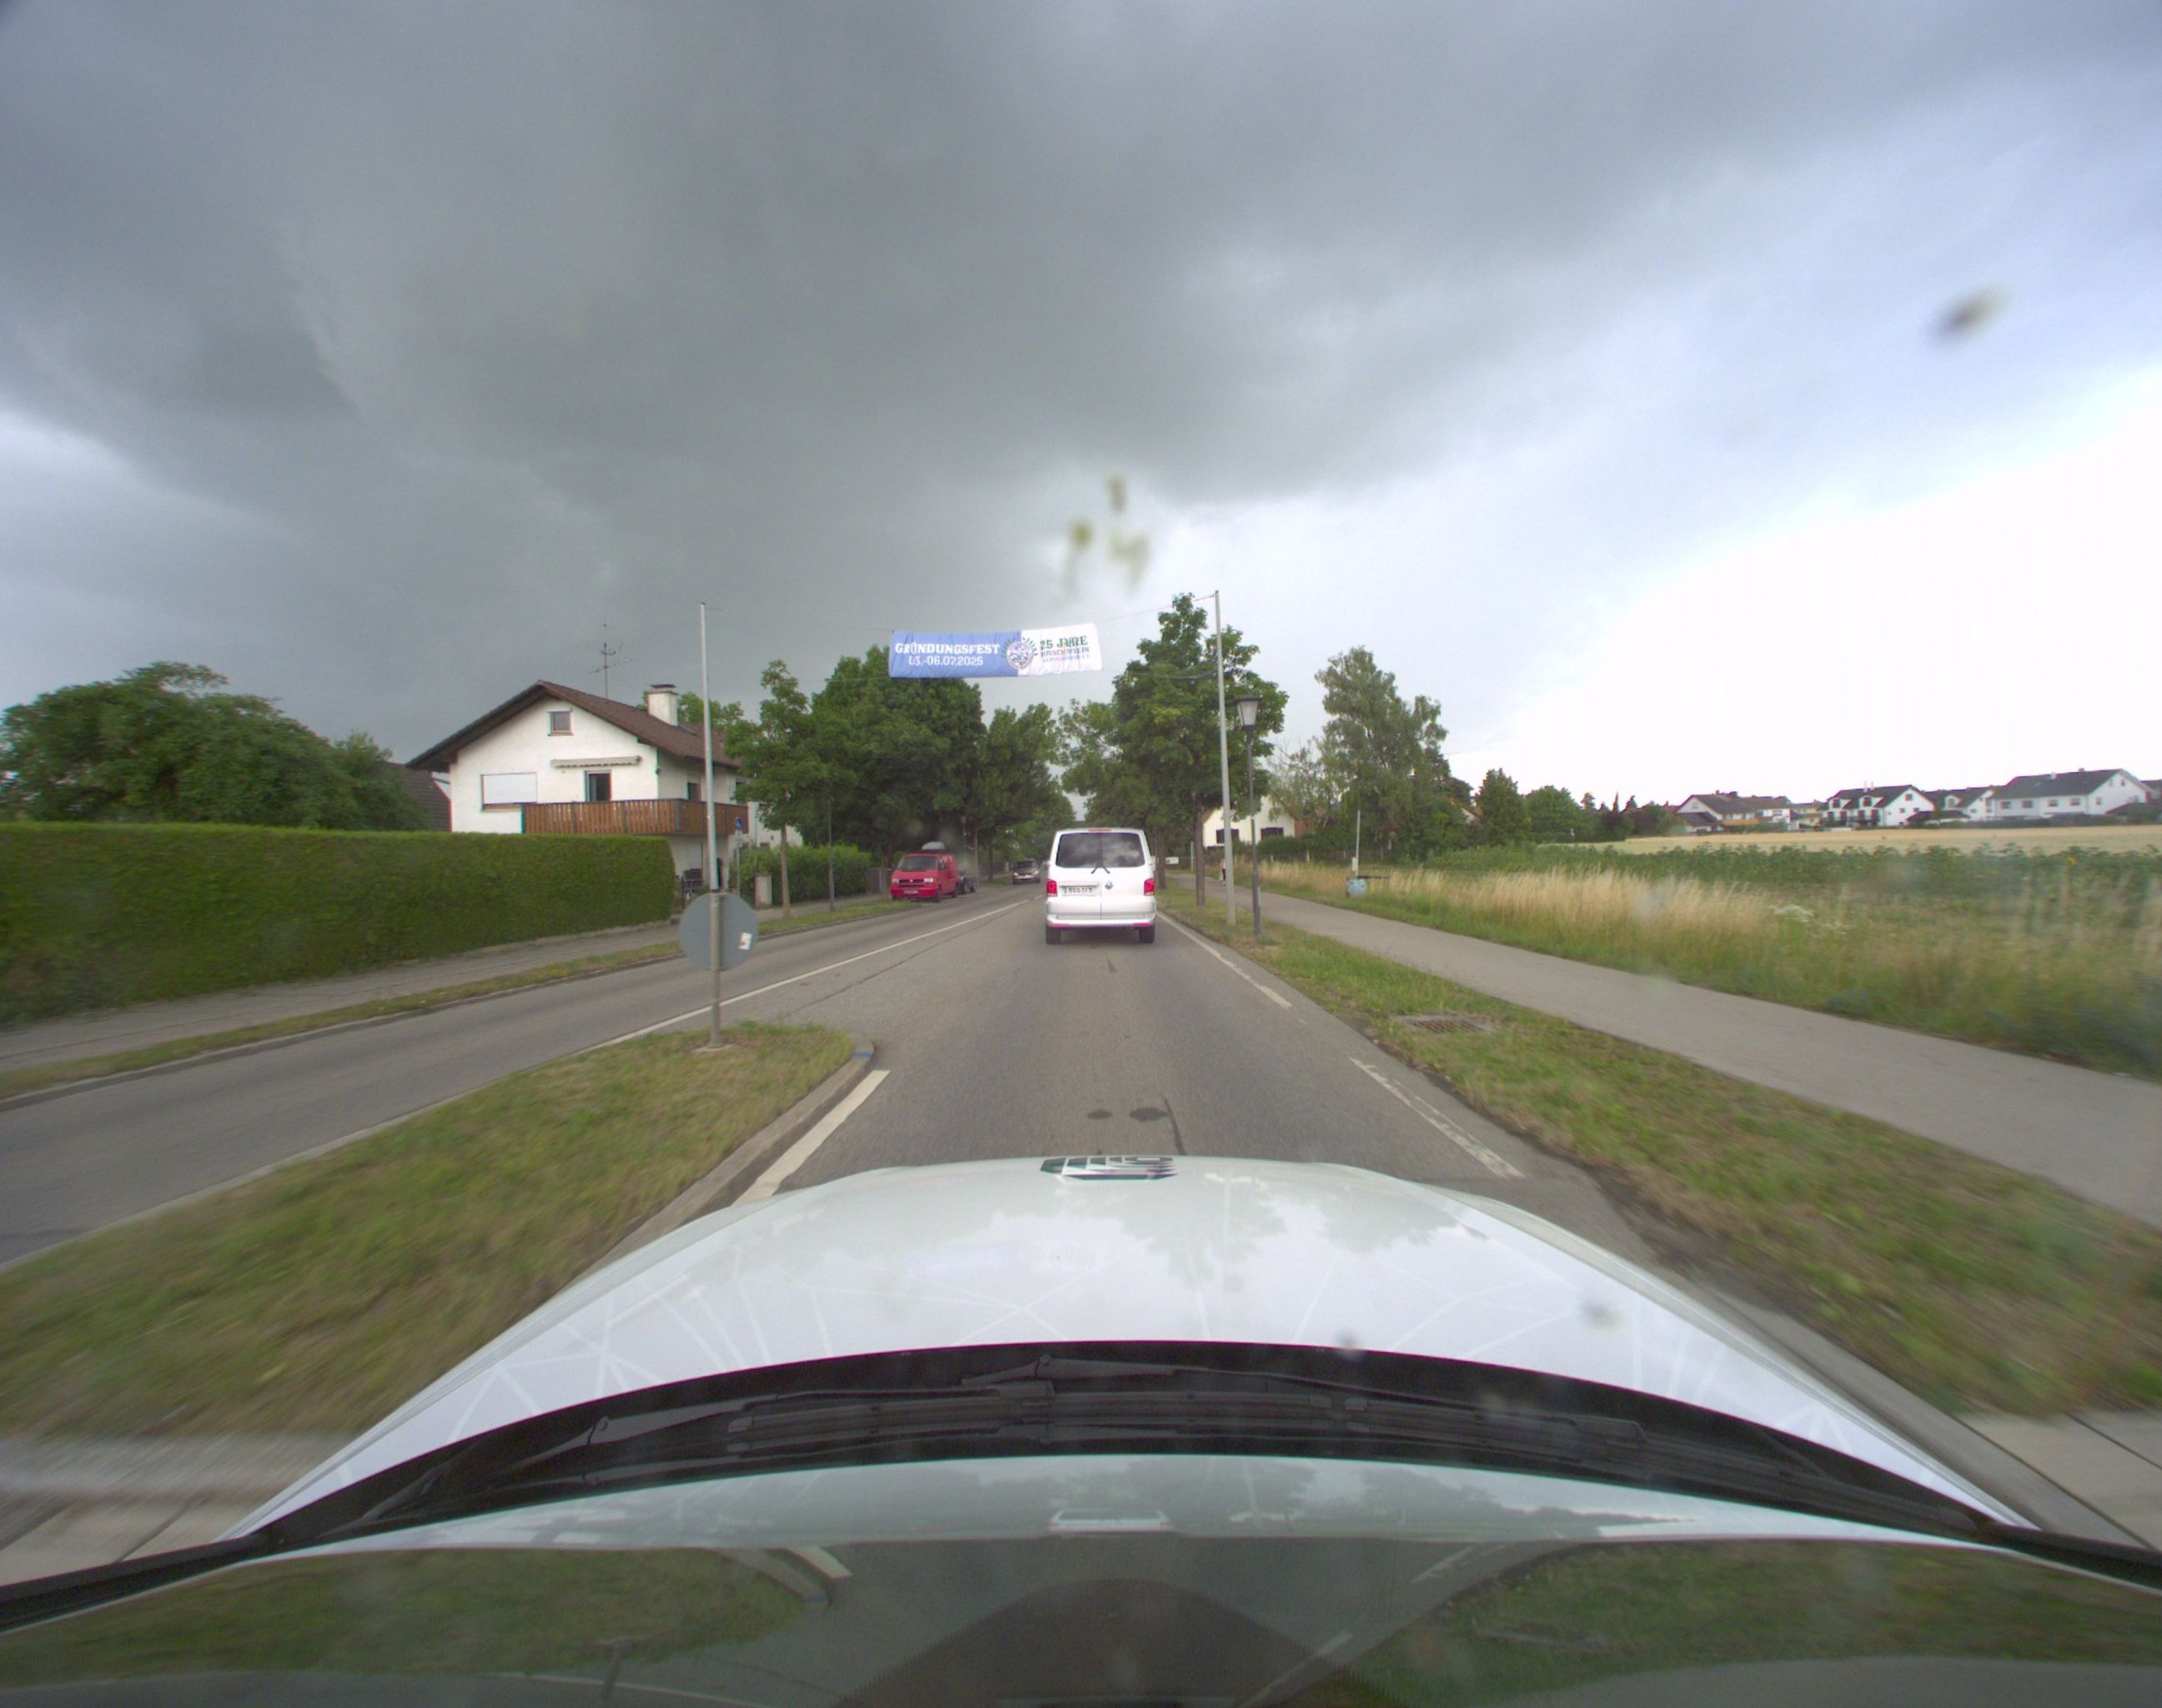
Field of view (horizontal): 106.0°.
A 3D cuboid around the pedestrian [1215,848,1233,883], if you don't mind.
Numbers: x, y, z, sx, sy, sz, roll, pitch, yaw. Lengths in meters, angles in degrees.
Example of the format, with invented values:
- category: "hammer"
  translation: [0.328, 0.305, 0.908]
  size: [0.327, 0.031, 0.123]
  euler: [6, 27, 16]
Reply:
- category: "pedestrian"
  translation: [7.270, 0.585, 41.442]
  size: [0.833, 1.755, 0.871]
  euler: [-1, 0, 5]

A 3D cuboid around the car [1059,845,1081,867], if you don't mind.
- category: "car"
  translation: [-1.076, 0.201, 79.022]
  size: [1.987, 2.014, 4.000]
  euler: [0, -1, 1]

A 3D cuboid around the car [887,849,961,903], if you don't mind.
- category: "car"
  translation: [-6.210, 0.811, 32.818]
  size: [1.823, 2.030, 5.048]
  euler: [0, 0, 2]

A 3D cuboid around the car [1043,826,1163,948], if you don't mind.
- category: "car"
  translation: [0.371, 0.541, 15.018]
  size: [1.881, 1.912, 4.000]
  euler: [-1, -1, 0]

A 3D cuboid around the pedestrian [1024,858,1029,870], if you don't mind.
- category: "pedestrian"
  translation: [-7.016, 1.258, 104.094]
  size: [0.621, 1.549, 0.522]
  euler: [0, -1, -3]

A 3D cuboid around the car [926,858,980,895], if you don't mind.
- category: "car"
  translation: [-6.027, 1.032, 38.787]
  size: [1.765, 1.598, 4.239]
  euler: [-1, 0, 1]

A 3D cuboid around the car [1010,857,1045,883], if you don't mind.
- category: "car"
  translation: [-3.502, 1.012, 53.764]
  size: [1.699, 1.532, 3.511]
  euler: [-3, 0, 4]
